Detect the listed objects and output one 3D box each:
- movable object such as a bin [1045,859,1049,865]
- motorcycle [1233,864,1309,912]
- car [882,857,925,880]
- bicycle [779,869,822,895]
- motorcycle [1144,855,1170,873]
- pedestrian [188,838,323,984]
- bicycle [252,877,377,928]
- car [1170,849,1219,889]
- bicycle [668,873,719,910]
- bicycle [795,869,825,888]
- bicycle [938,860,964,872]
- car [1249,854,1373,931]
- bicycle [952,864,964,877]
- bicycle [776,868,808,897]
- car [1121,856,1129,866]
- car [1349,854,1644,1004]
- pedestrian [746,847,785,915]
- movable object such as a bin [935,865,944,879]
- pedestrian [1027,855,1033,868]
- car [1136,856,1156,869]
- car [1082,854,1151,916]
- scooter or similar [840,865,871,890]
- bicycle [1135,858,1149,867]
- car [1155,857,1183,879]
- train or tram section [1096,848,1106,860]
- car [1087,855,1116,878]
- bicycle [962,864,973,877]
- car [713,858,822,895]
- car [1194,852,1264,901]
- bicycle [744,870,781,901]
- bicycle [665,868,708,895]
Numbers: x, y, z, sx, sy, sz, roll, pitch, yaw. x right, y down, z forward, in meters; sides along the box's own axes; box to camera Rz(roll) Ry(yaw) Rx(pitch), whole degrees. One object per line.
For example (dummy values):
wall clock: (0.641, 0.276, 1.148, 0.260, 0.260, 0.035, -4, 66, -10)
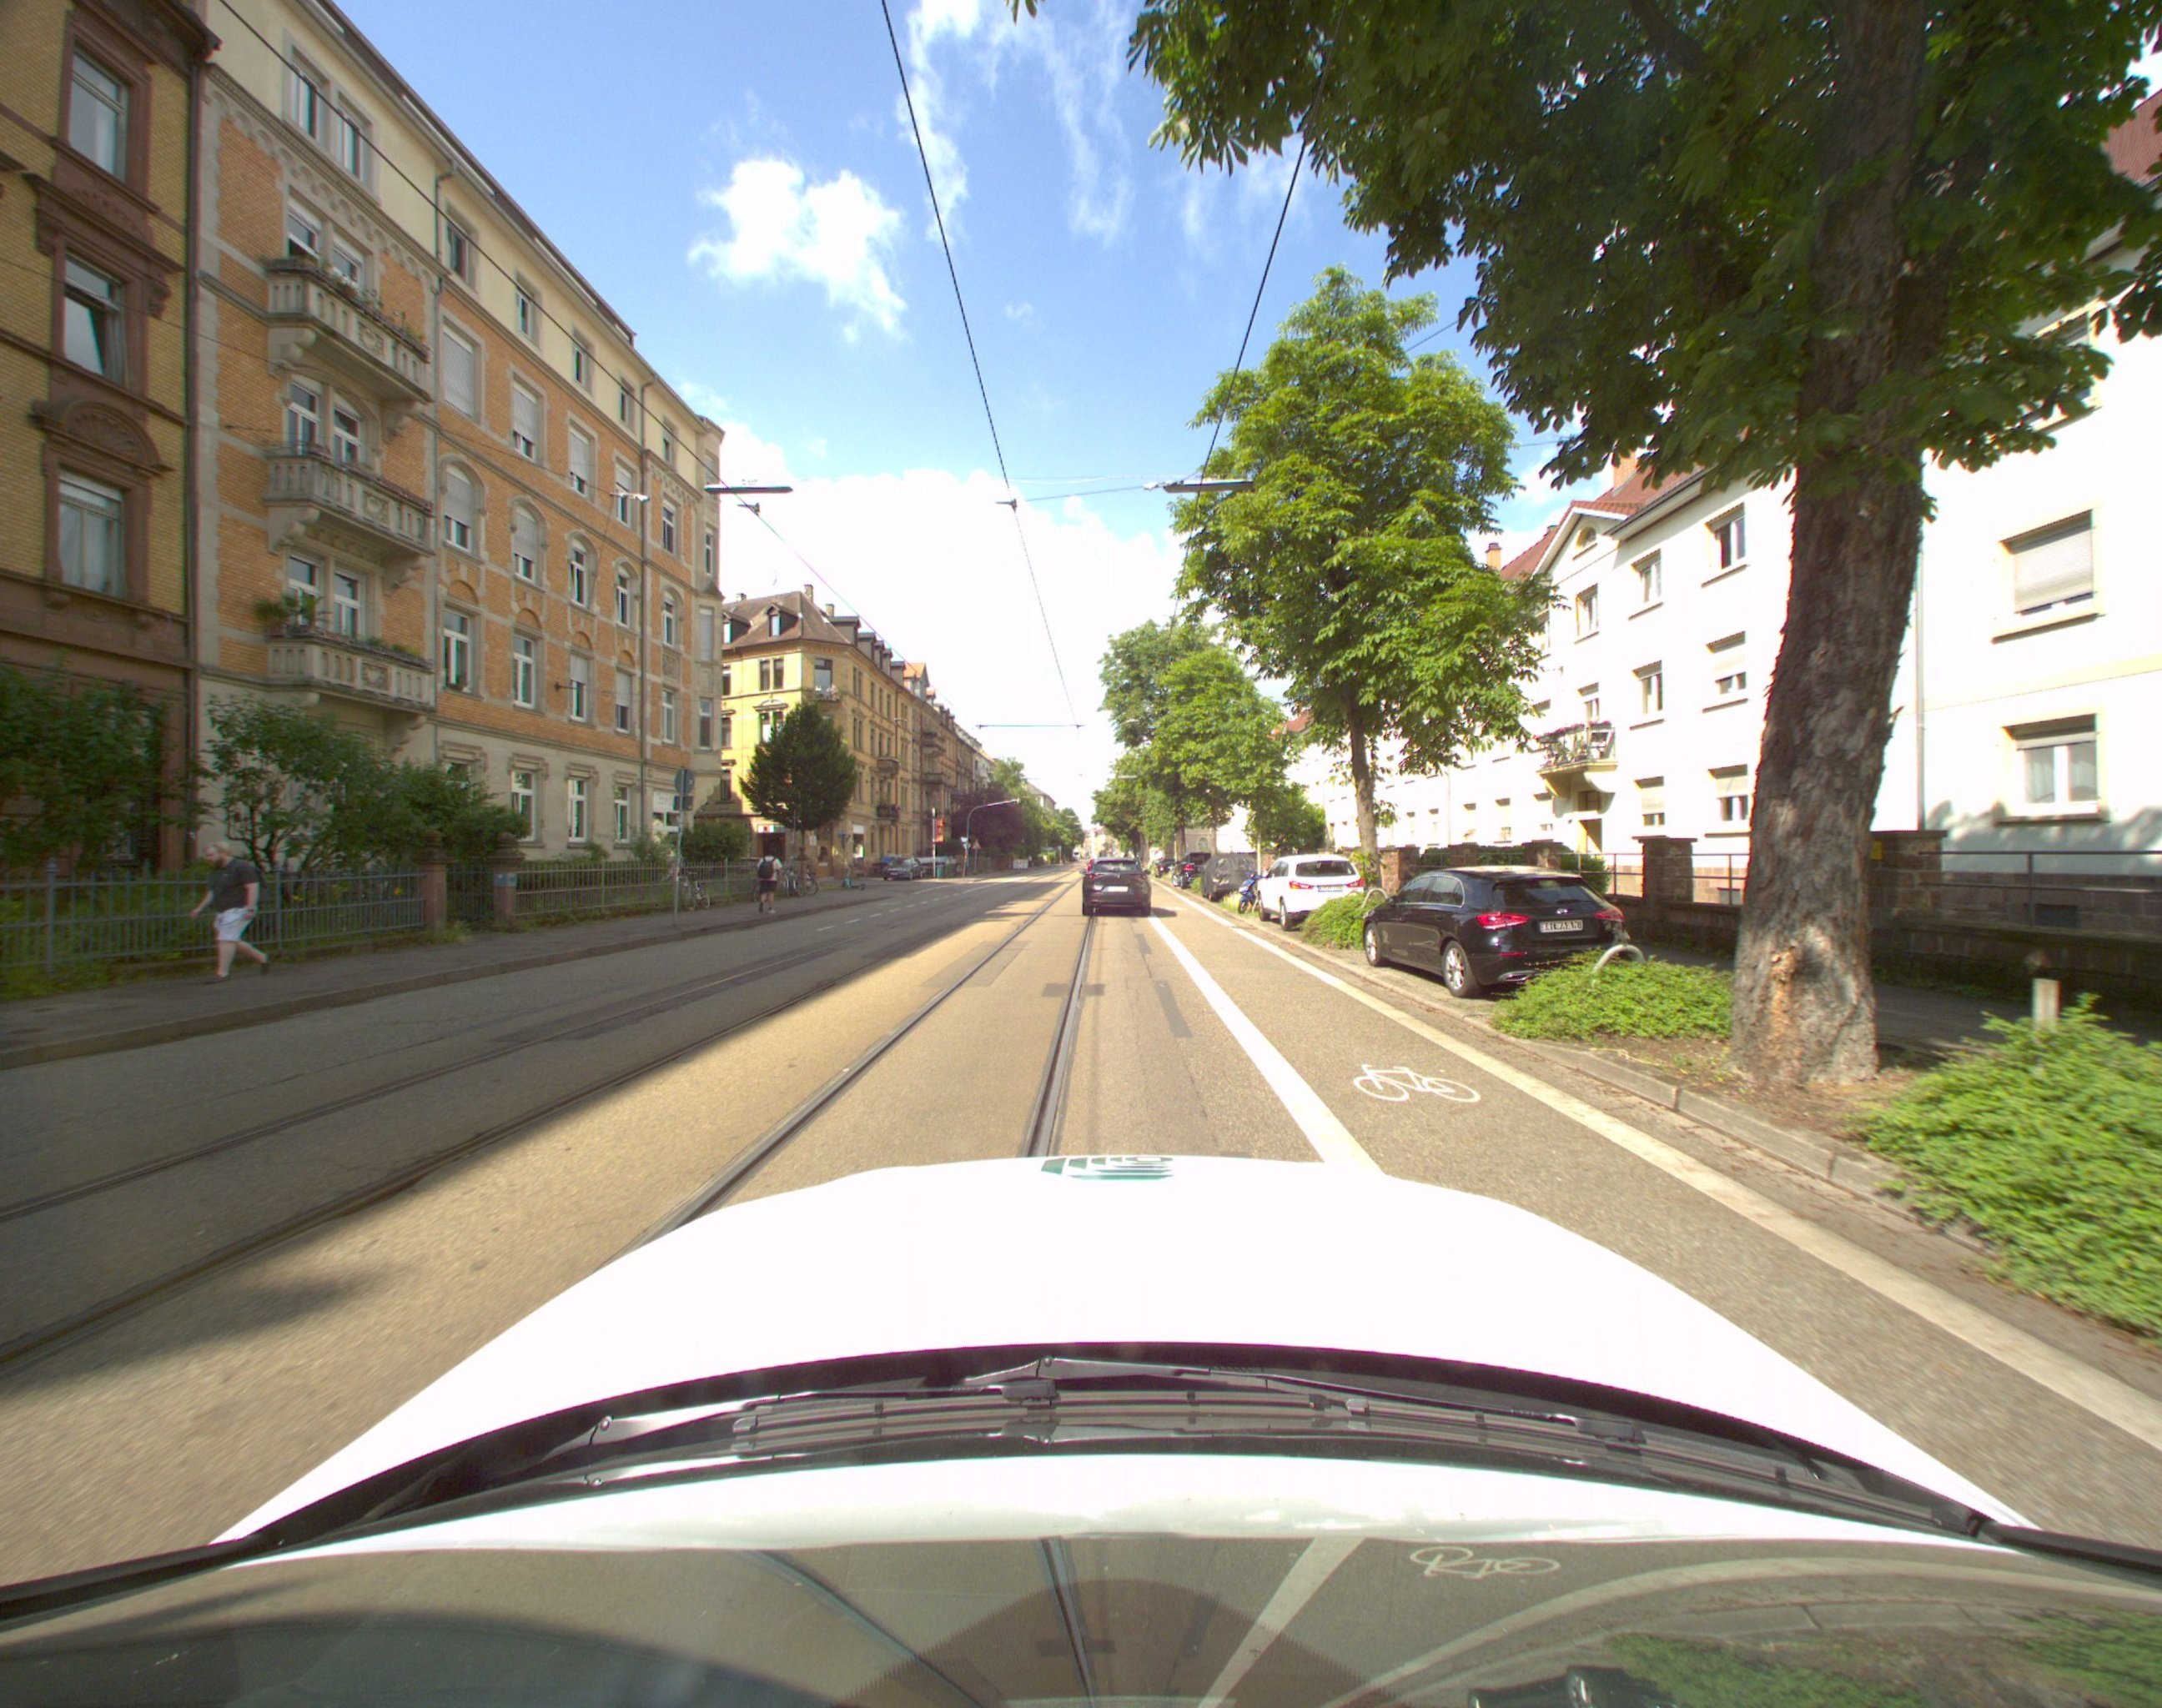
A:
movable object such as a bin: (-6.072, 1.377, 145.759, 0.742, 0.988, 1.114, 2, -1, 1)
motorcycle: (5.427, 0.966, 23.303, 2.001, 1.337, 0.747, 0, -1, -3)
car: (-11.849, 0.917, 54.559, 1.679, 1.459, 4.766, -1, 0, 2)
bicycle: (-10.651, 1.052, 30.930, 1.447, 0.976, 0.404, -1, 0, 1)
motorcycle: (6.996, 0.915, 74.979, 2.357, 1.597, 0.683, 2, 1, 40)
pedestrian: (-10.195, 0.672, 10.109, 0.486, 1.703, 1.151, 0, 0, 0)
bicycle: (-14.342, 0.902, 15.252, 1.936, 0.932, 0.422, 0, 0, 0)
car: (5.438, 0.678, 39.537, 1.820, 1.782, 4.734, -1, 0, 1)
bicycle: (-10.621, 1.020, 22.374, 0.420, 0.932, 1.950, 0, 0, 1)
bicycle: (-12.959, 1.160, 38.965, 0.519, 0.837, 1.705, 0, 0, 15)
bicycle: (-10.113, 0.939, 63.338, 1.957, 0.946, 0.531, 0, 0, -4)
car: (5.136, 0.789, 18.746, 1.736, 1.581, 4.249, 0, 0, 1)
bicycle: (-9.163, 1.237, 60.798, 0.528, 0.946, 1.968, -1, 0, 2)
bicycle: (-10.423, 1.025, 29.418, 0.420, 0.976, 1.950, 0, 0, 1)
car: (9.363, 1.453, 173.466, 1.714, 1.968, 4.209, 0, 0, 2)
car: (4.936, 0.770, 10.433, 1.655, 1.521, 4.288, 0, 0, 1)
pedestrian: (-8.468, 0.706, 21.892, 0.531, 1.760, 1.106, 2, 0, 1)
movable object such as a bin: (-9.850, 1.246, 56.816, 0.523, 0.906, 0.636, -1, -1, 0)
pedestrian: (-7.005, 1.034, 112.171, 0.820, 1.706, 0.891, 0, -1, -2)
car: (7.769, 1.023, 97.549, 1.841, 1.409, 4.392, -2, -1, -1)
car: (0.929, 0.782, 22.170, 1.714, 1.526, 3.590, 0, 0, 1)
scooter or similar: (-10.953, 1.134, 39.565, 1.369, 1.235, 0.400, 1, -1, -27)
bicycle: (8.283, 1.219, 110.637, 1.923, 1.176, 0.515, -2, -1, 13)
car: (6.381, 0.985, 59.259, 1.700, 1.479, 4.198, 2, 0, 2)
train or tram section: (6.193, -0.009, 254.187, 2.564, 3.772, 13.022, 0, 0, 0)
car: (1.496, 0.866, 58.834, 1.986, 1.529, 4.001, 2, 0, 1)
bicycle: (-9.023, 1.303, 64.985, 0.528, 0.946, 1.968, -1, 0, 2)
car: (-12.455, 0.881, 32.466, 3.585, 1.403, 1.789, 0, 0, 5)
car: (5.382, 0.786, 30.117, 1.856, 1.653, 4.639, 0, 0, 1)
bicycle: (-10.419, 1.012, 26.690, 0.420, 0.976, 1.950, 0, 0, 1)
bicycle: (-14.921, 1.027, 30.821, 1.447, 0.976, 0.404, -1, 0, 1)
